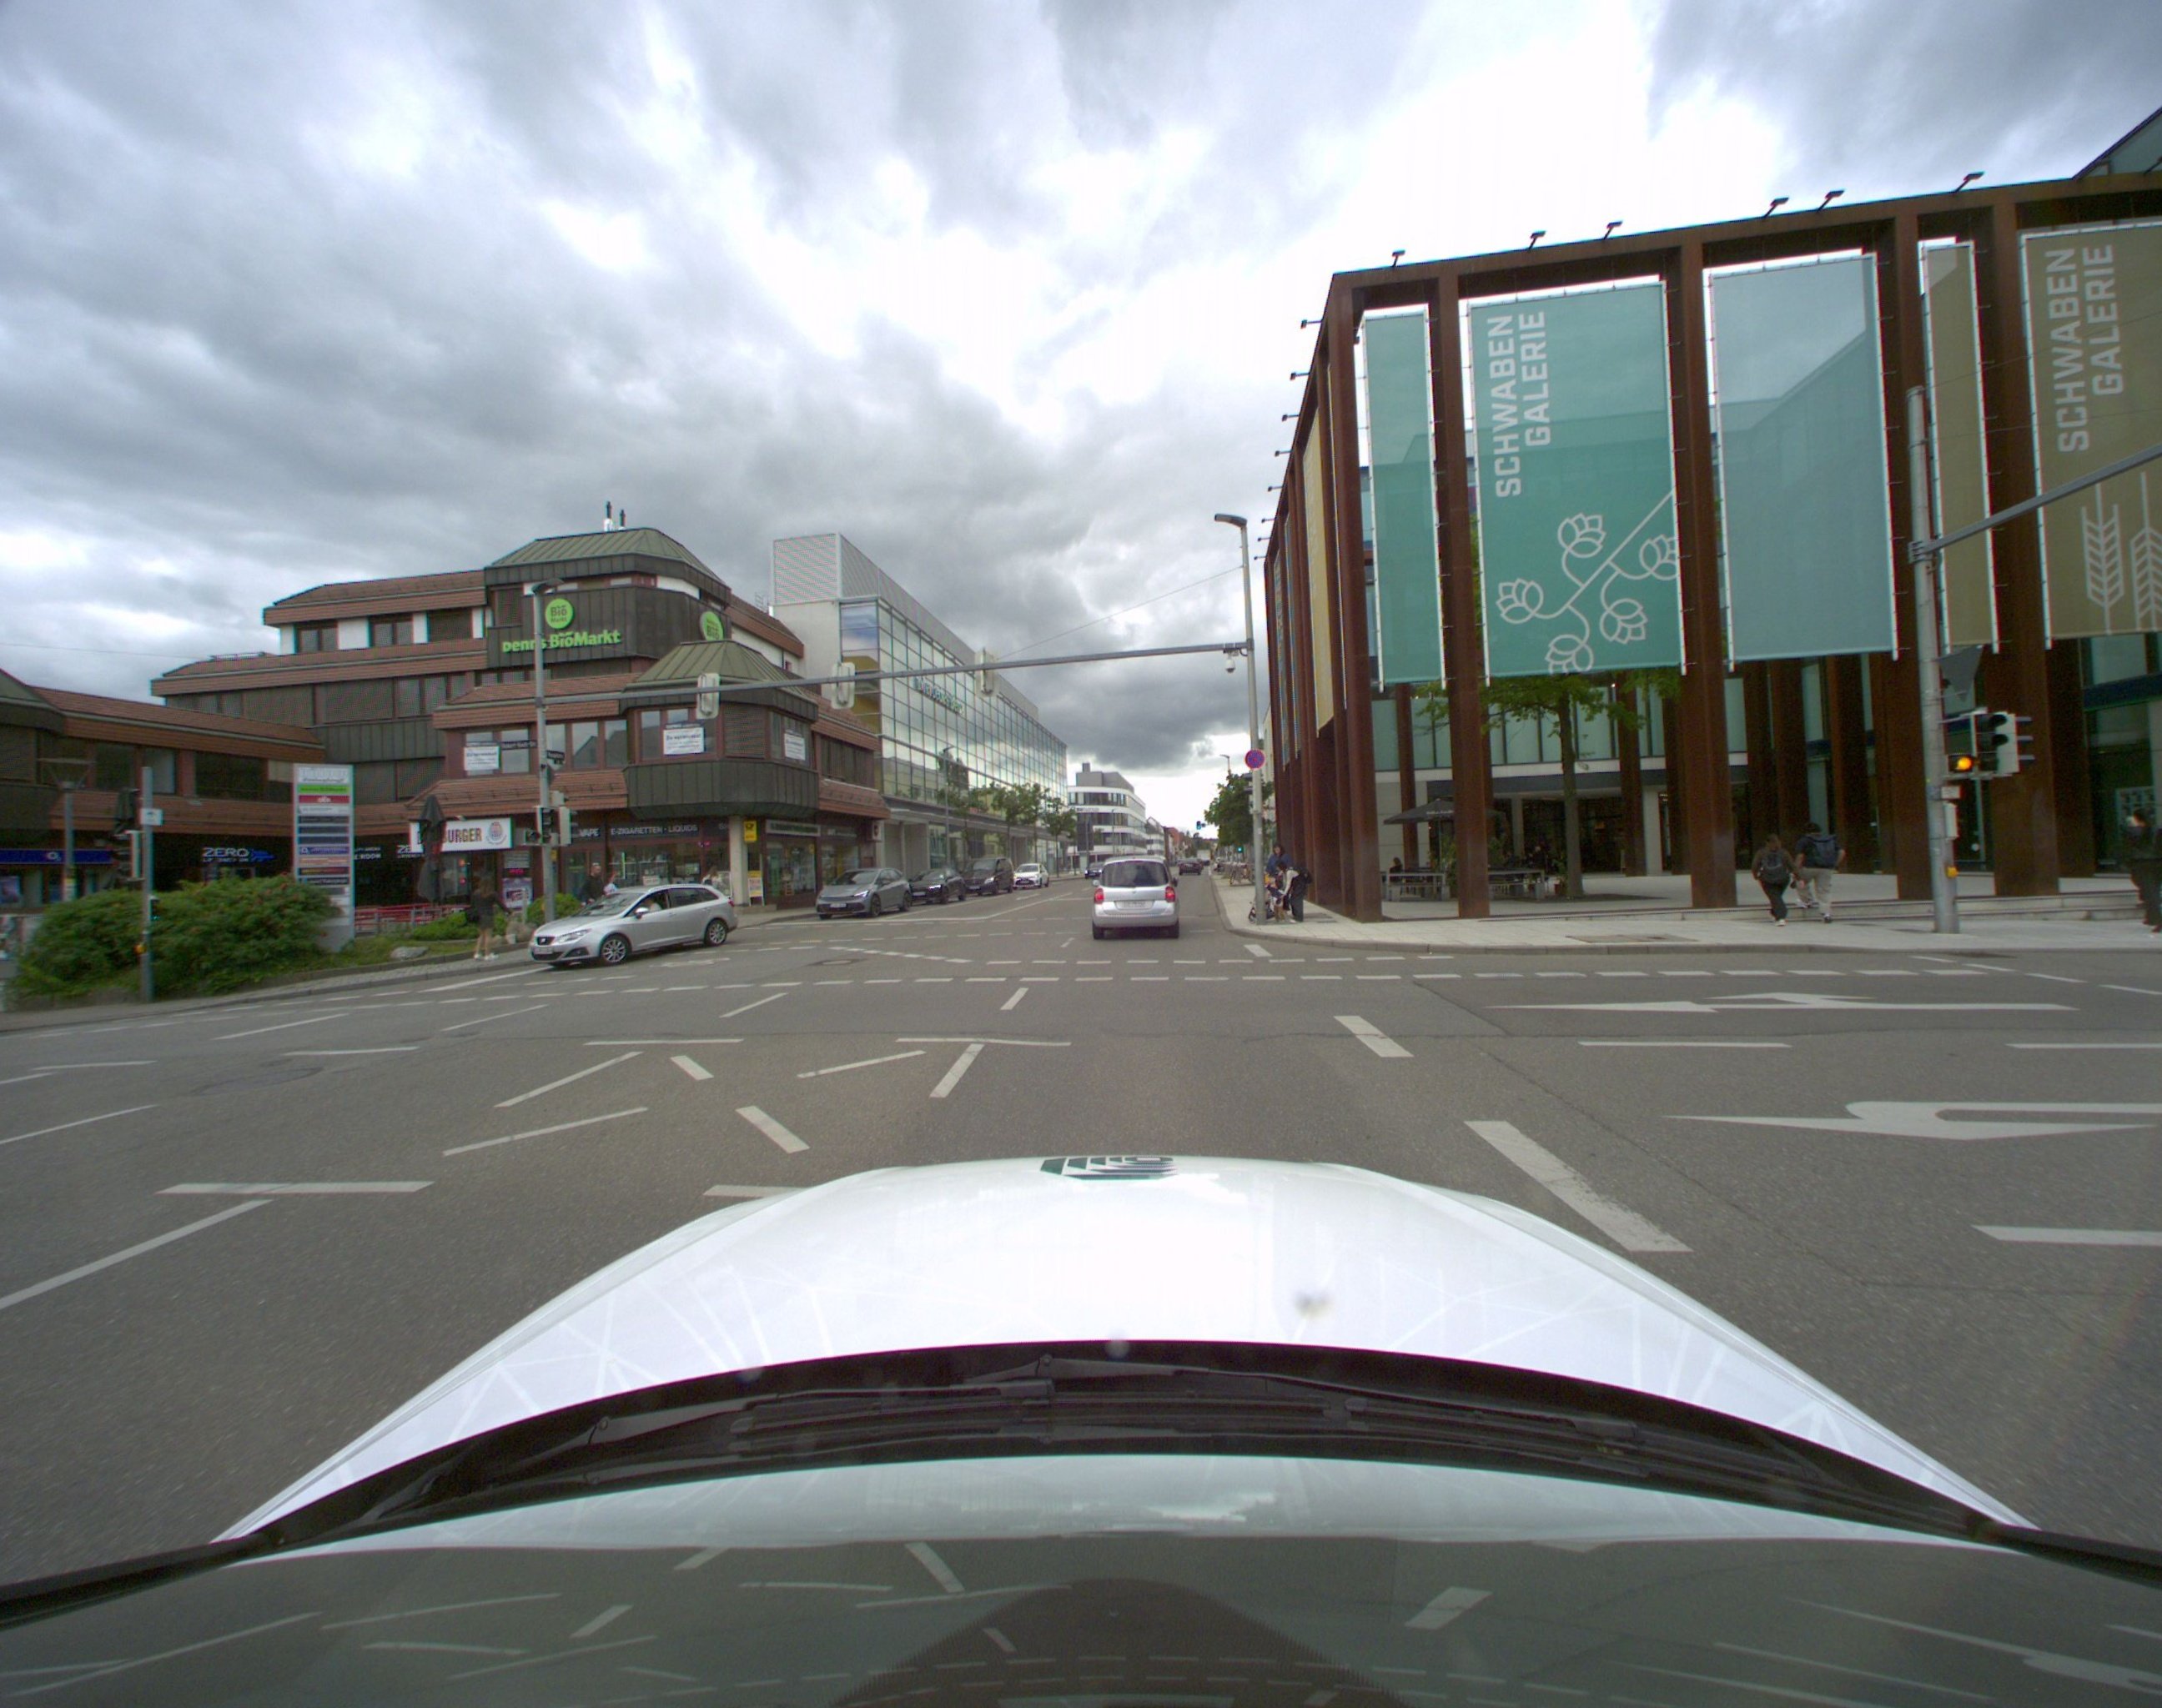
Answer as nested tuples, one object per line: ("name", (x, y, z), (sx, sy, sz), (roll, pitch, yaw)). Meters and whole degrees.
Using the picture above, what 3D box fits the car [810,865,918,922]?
("car", (-6.911, 1.212, 26.439), (1.749, 1.517, 4.396), (-4, 0, 7))

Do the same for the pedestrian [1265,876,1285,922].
("pedestrian", (4.004, 0.927, 16.818), (0.359, 0.924, 0.456), (-2, 0, 11))

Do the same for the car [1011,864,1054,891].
("car", (-2.882, 1.367, 49.073), (1.650, 1.465, 4.010), (-3, -1, 9))

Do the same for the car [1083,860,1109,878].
("car", (1.359, 1.303, 71.893), (1.650, 1.480, 4.011), (-3, -1, 9))

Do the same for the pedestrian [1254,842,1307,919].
("pedestrian", (4.389, 0.572, 17.907), (0.861, 1.646, 0.684), (-2, -1, 43))

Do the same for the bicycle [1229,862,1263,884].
("bicycle", (7.948, 0.923, 39.182), (1.550, 0.992, 0.755), (-2, -1, 11))

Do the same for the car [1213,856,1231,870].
("car", (15.425, 1.009, 89.375), (1.866, 1.509, 4.010), (0, 0, 9))

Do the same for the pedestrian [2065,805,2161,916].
("pedestrian", (17.453, 0.097, 13.498), (0.874, 1.767, 1.122), (-2, -1, 6))

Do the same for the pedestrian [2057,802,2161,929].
("pedestrian", (15.424, 0.149, 11.919), (0.874, 1.767, 1.122), (-2, -1, 6))

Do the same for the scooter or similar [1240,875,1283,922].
("scooter or similar", (3.869, 0.954, 17.460), (0.627, 0.961, 0.624), (-3, -1, 42))

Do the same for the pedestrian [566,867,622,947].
("pedestrian", (-11.426, 1.220, 19.126), (0.807, 1.808, 0.746), (-1, 0, 0))

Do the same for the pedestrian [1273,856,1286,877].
("pedestrian", (14.972, 0.934, 61.382), (0.706, 1.574, 0.814), (-5, -1, 9))

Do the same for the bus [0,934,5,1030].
("bus", (-23.108, 1.565, 11.667), (12.209, 3.327, 3.001), (-5, -1, 4))

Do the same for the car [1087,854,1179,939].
("car", (1.157, 0.782, 16.666), (1.661, 1.554, 3.648), (0, 0, 6))

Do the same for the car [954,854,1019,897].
("car", (-4.671, 1.036, 41.120), (1.854, 1.910, 5.126), (-3, -1, 9))

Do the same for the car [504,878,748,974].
("car", (-9.097, 1.371, 16.728), (1.621, 1.418, 4.221), (-4, 1, 21))

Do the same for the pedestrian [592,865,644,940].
("pedestrian", (-11.476, 1.183, 20.198), (0.807, 1.808, 0.775), (-1, 0, 0))

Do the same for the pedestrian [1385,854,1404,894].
("pedestrian", (9.704, 0.624, 25.225), (0.444, 1.220, 0.608), (-2, -1, 12))

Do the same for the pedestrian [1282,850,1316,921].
("pedestrian", (4.476, 0.642, 16.754), (0.597, 1.420, 0.584), (-2, 0, 11))

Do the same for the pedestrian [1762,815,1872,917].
("pedestrian", (12.756, 0.204, 14.166), (0.874, 1.681, 1.122), (-2, -1, 6))

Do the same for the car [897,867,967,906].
("car", (-6.064, 1.287, 33.547), (1.693, 1.443, 4.007), (-2, -1, 6))

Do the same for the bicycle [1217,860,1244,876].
("bicycle", (10.833, 1.030, 58.983), (1.815, 1.074, 0.754), (-3, -1, 7))

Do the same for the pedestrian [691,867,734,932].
("pedestrian", (-10.049, 1.221, 22.226), (0.745, 1.693, 0.778), (-2, -1, 4))

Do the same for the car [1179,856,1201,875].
("car", (9.139, 0.929, 68.063), (1.659, 1.554, 3.653), (0, 0, 11))

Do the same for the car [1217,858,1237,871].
("car", (14.852, 1.047, 83.023), (1.866, 1.335, 4.010), (0, 0, 9))

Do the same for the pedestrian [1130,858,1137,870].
("pedestrian", (8.804, 1.668, 137.315), (0.955, 1.833, 1.254), (-3, -1, 9))

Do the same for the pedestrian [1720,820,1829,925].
("pedestrian", (11.741, 0.300, 13.842), (0.874, 1.681, 1.122), (-2, -1, 6))

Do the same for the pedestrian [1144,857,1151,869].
("pedestrian", (11.147, 1.526, 137.234), (0.955, 1.833, 1.254), (-3, -1, 9))

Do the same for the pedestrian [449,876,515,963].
("pedestrian", (-12.375, 1.332, 16.836), (0.693, 1.713, 0.818), (-2, 0, 29))

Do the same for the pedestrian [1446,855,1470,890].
("pedestrian", (13.454, 0.656, 29.084), (0.512, 1.208, 0.797), (-2, 0, 7))

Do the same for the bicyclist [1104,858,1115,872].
("bicyclist", (3.456, 1.361, 99.718), (1.011, 1.660, 0.925), (0, -1, -27))
